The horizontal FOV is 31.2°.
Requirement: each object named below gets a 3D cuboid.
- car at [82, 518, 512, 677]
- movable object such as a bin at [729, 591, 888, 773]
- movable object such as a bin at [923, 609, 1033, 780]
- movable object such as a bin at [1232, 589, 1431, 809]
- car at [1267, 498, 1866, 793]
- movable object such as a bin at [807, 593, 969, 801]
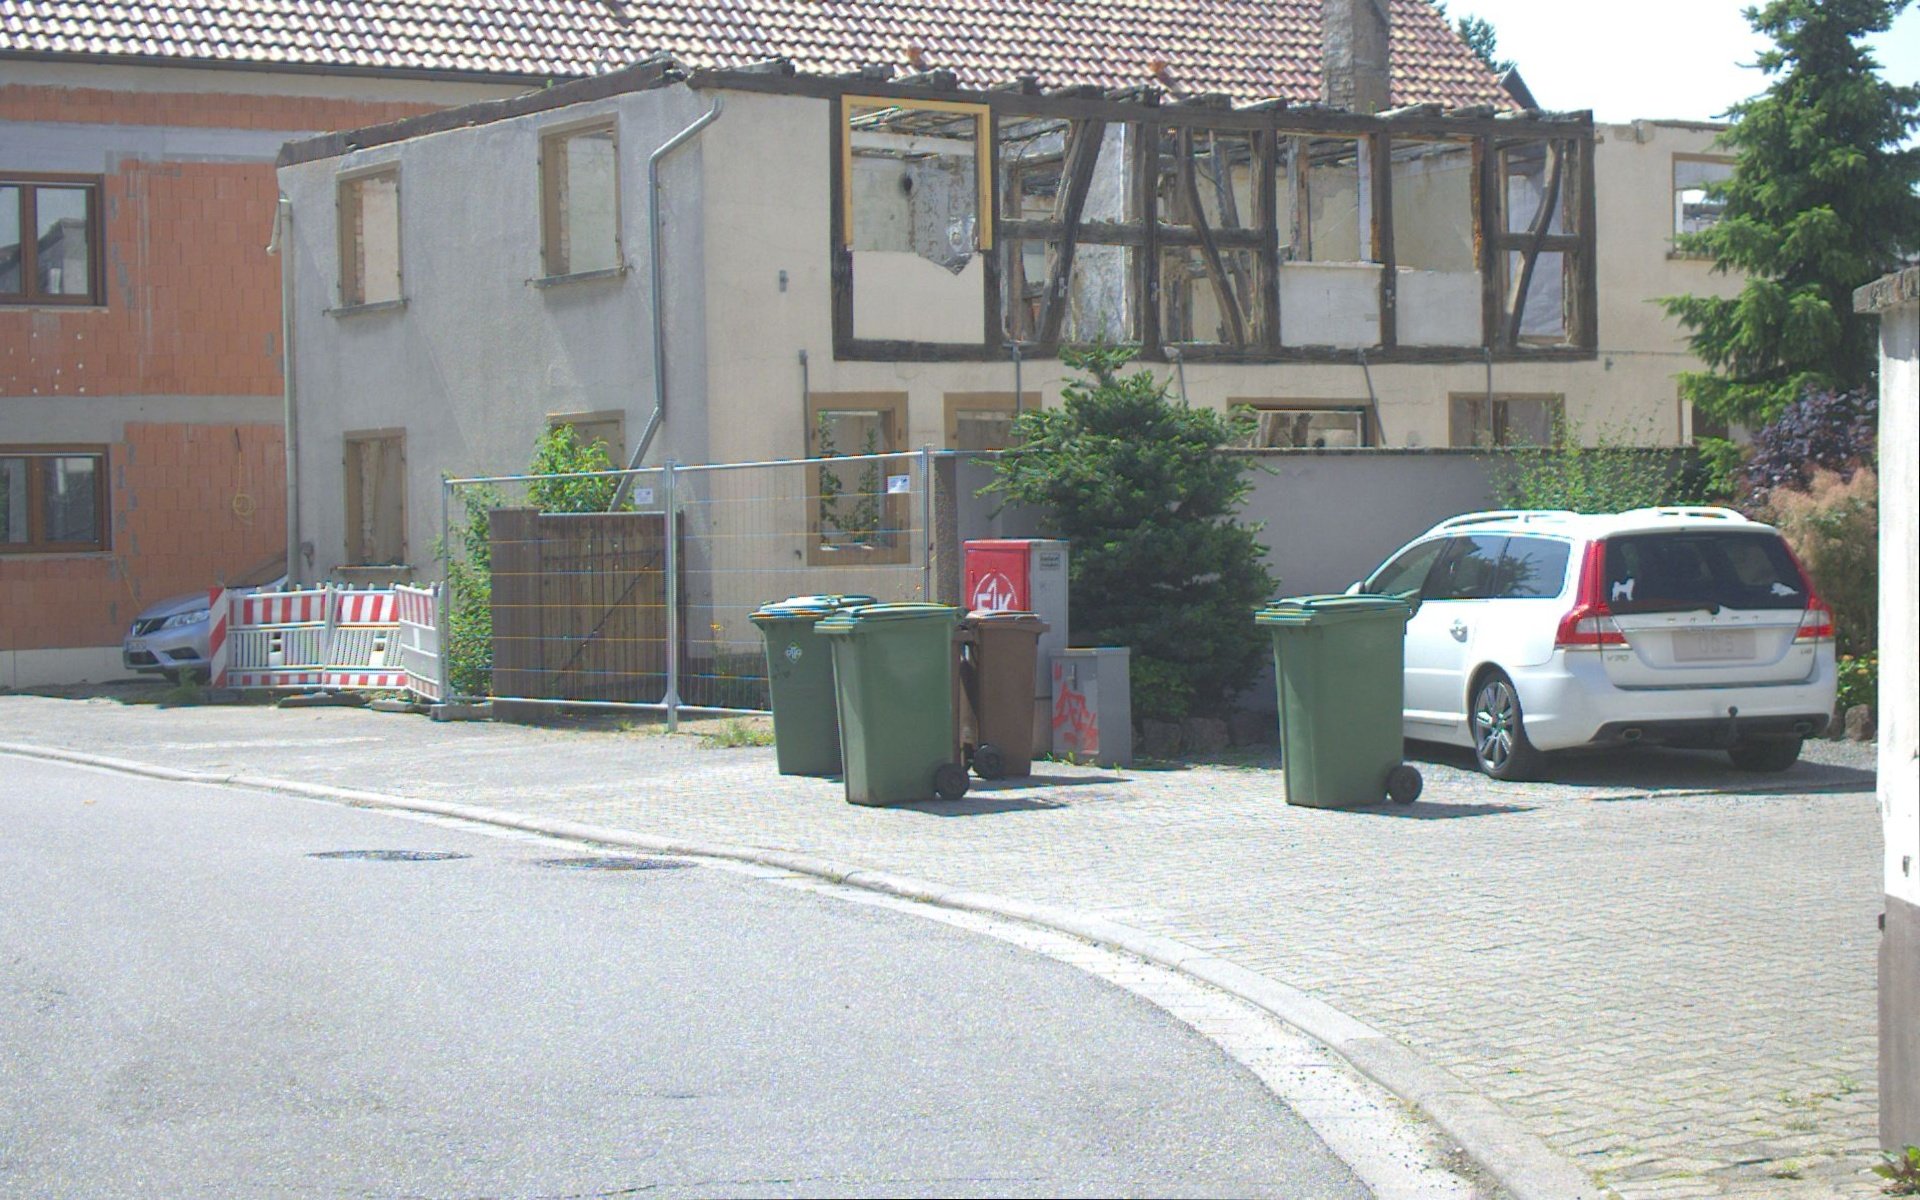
[{"bbox_3d":[-7.094,-0.060,36.958,4.089,1.502,1.870,-3,2,-36],"label":"car"},{"bbox_3d":[-0.923,0.492,21.041,0.671,1.068,0.760,0,2,27],"label":"movable object such as a bin"},{"bbox_3d":[0.103,0.546,20.143,0.465,0.967,0.496,-2,1,-24],"label":"movable object such as a bin"},{"bbox_3d":[1.915,0.494,17.763,0.720,1.077,0.755,-2,2,-26],"label":"movable object such as a bin"},{"bbox_3d":[3.457,0.181,20.494,1.810,1.523,4.298,-2,2,-16],"label":"car"},{"bbox_3d":[-0.399,0.518,18.828,0.686,1.088,0.638,-2,1,-23],"label":"movable object such as a bin"}]
